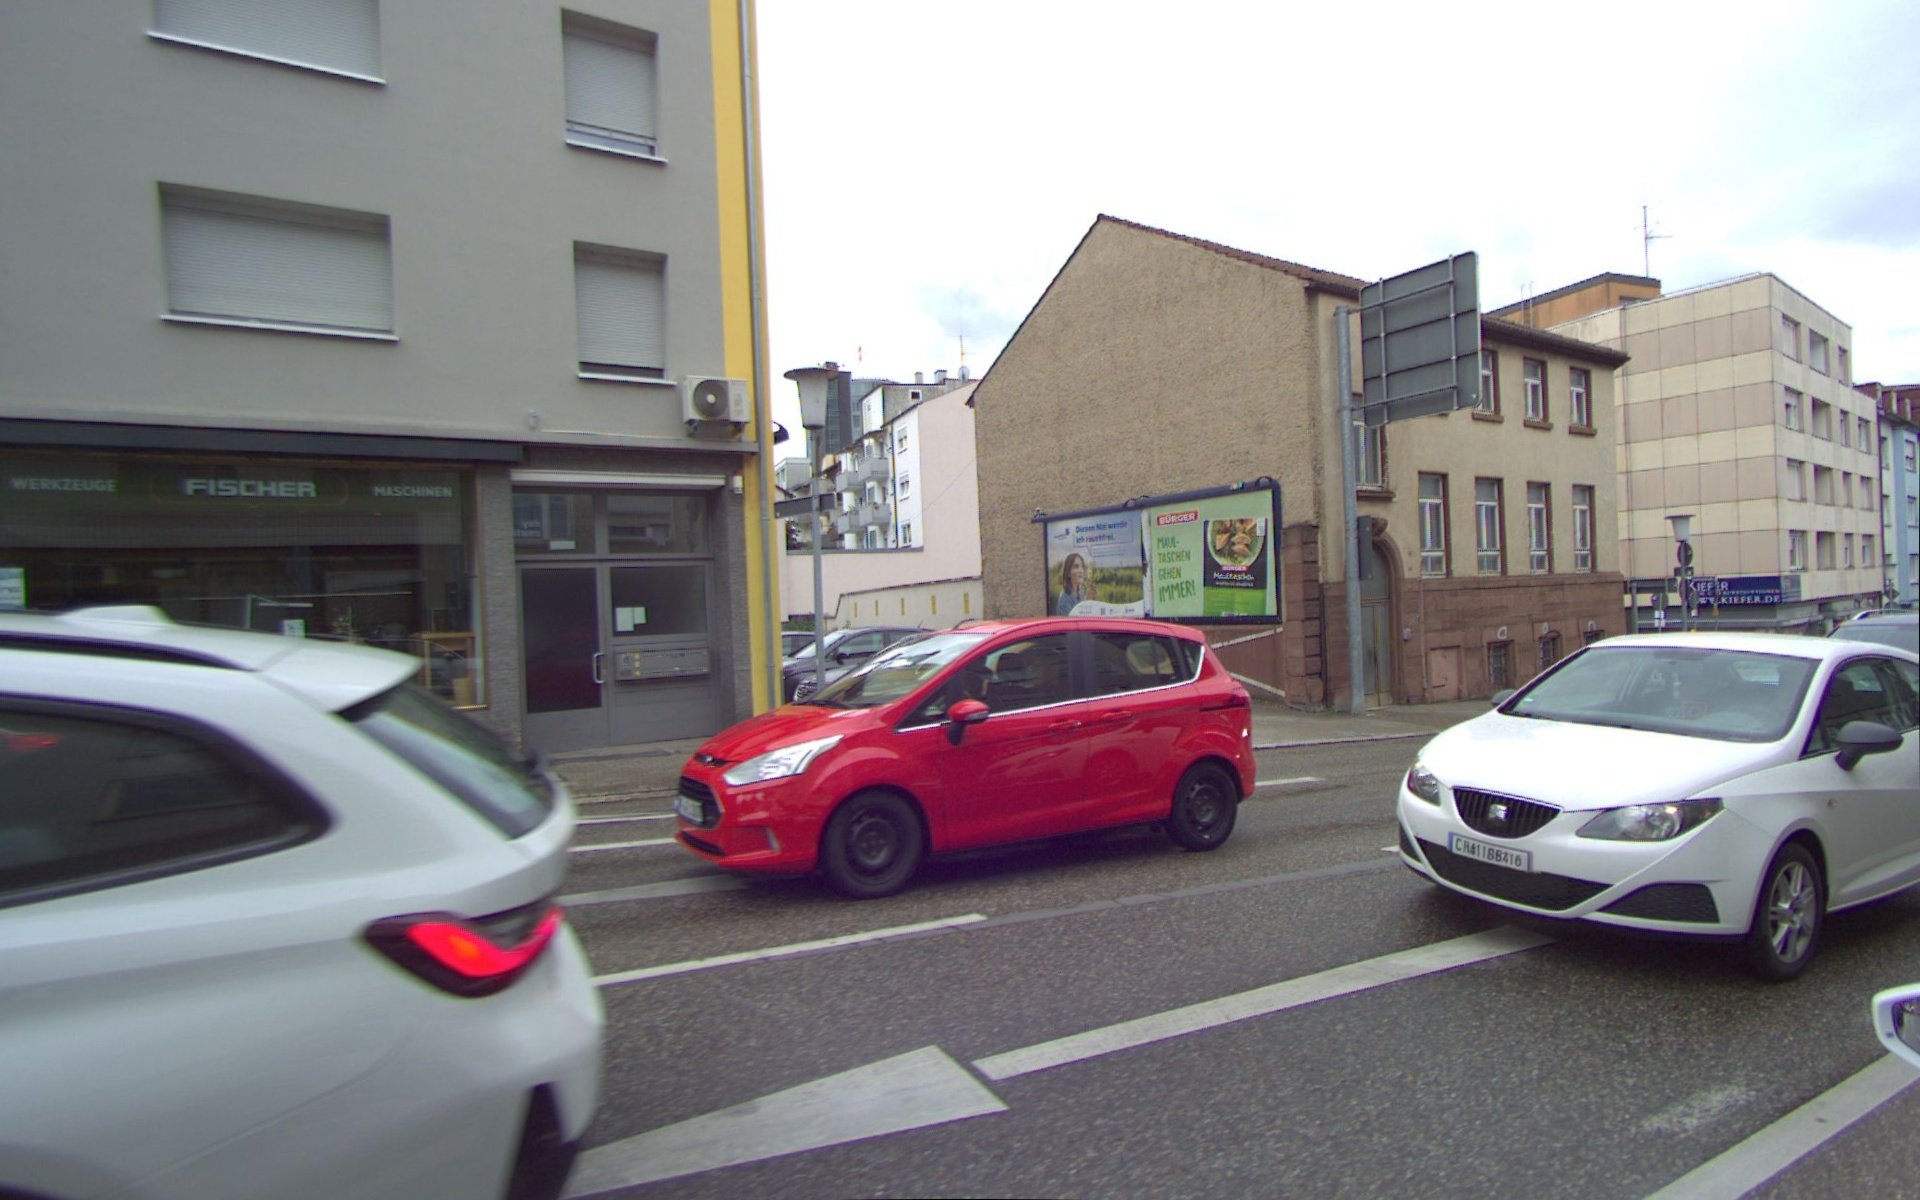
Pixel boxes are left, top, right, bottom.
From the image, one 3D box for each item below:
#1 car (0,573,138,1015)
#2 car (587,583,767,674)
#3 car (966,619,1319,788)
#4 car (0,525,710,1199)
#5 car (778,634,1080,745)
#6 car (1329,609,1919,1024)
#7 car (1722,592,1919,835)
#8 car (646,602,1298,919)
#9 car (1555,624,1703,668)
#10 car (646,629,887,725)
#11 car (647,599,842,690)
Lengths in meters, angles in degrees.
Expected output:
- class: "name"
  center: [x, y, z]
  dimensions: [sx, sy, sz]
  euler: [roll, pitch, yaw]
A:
- class: "car"
  center: [-5.873, 0.723, 3.528]
  dimensions: [4.290, 1.652, 1.799]
  euler: [2, -5, -29]
- class: "car"
  center: [-9.545, 0.888, 33.850]
  dimensions: [5.547, 2.593, 2.123]
  euler: [-3, 1, -22]
- class: "car"
  center: [2.144, 1.113, 11.499]
  dimensions: [3.885, 1.631, 1.647]
  euler: [2, -4, -32]
- class: "car"
  center: [-2.861, 0.658, 1.548]
  dimensions: [4.505, 1.541, 1.799]
  euler: [2, -2, -28]
- class: "car"
  center: [-0.380, 1.296, 15.799]
  dimensions: [4.620, 1.474, 1.679]
  euler: [1, -1, -36]
- class: "car"
  center: [4.159, 0.866, 5.506]
  dimensions: [4.240, 1.500, 1.690]
  euler: [2, 0, -30]
- class: "car"
  center: [8.592, 0.873, 8.637]
  dimensions: [4.512, 1.727, 1.796]
  euler: [2, 0, -33]
- class: "car"
  center: [0.186, 0.888, 6.726]
  dimensions: [4.085, 1.535, 1.731]
  euler: [2, -4, -32]
- class: "car"
  center: [25.259, 1.701, 38.082]
  dimensions: [1.873, 1.532, 4.318]
  euler: [2, -1, -26]
- class: "car"
  center: [-3.362, 1.278, 17.652]
  dimensions: [3.813, 1.483, 1.681]
  euler: [1, -1, -33]
- class: "car"
  center: [-4.422, 0.854, 20.671]
  dimensions: [3.524, 1.535, 1.724]
  euler: [-4, 1, -30]
